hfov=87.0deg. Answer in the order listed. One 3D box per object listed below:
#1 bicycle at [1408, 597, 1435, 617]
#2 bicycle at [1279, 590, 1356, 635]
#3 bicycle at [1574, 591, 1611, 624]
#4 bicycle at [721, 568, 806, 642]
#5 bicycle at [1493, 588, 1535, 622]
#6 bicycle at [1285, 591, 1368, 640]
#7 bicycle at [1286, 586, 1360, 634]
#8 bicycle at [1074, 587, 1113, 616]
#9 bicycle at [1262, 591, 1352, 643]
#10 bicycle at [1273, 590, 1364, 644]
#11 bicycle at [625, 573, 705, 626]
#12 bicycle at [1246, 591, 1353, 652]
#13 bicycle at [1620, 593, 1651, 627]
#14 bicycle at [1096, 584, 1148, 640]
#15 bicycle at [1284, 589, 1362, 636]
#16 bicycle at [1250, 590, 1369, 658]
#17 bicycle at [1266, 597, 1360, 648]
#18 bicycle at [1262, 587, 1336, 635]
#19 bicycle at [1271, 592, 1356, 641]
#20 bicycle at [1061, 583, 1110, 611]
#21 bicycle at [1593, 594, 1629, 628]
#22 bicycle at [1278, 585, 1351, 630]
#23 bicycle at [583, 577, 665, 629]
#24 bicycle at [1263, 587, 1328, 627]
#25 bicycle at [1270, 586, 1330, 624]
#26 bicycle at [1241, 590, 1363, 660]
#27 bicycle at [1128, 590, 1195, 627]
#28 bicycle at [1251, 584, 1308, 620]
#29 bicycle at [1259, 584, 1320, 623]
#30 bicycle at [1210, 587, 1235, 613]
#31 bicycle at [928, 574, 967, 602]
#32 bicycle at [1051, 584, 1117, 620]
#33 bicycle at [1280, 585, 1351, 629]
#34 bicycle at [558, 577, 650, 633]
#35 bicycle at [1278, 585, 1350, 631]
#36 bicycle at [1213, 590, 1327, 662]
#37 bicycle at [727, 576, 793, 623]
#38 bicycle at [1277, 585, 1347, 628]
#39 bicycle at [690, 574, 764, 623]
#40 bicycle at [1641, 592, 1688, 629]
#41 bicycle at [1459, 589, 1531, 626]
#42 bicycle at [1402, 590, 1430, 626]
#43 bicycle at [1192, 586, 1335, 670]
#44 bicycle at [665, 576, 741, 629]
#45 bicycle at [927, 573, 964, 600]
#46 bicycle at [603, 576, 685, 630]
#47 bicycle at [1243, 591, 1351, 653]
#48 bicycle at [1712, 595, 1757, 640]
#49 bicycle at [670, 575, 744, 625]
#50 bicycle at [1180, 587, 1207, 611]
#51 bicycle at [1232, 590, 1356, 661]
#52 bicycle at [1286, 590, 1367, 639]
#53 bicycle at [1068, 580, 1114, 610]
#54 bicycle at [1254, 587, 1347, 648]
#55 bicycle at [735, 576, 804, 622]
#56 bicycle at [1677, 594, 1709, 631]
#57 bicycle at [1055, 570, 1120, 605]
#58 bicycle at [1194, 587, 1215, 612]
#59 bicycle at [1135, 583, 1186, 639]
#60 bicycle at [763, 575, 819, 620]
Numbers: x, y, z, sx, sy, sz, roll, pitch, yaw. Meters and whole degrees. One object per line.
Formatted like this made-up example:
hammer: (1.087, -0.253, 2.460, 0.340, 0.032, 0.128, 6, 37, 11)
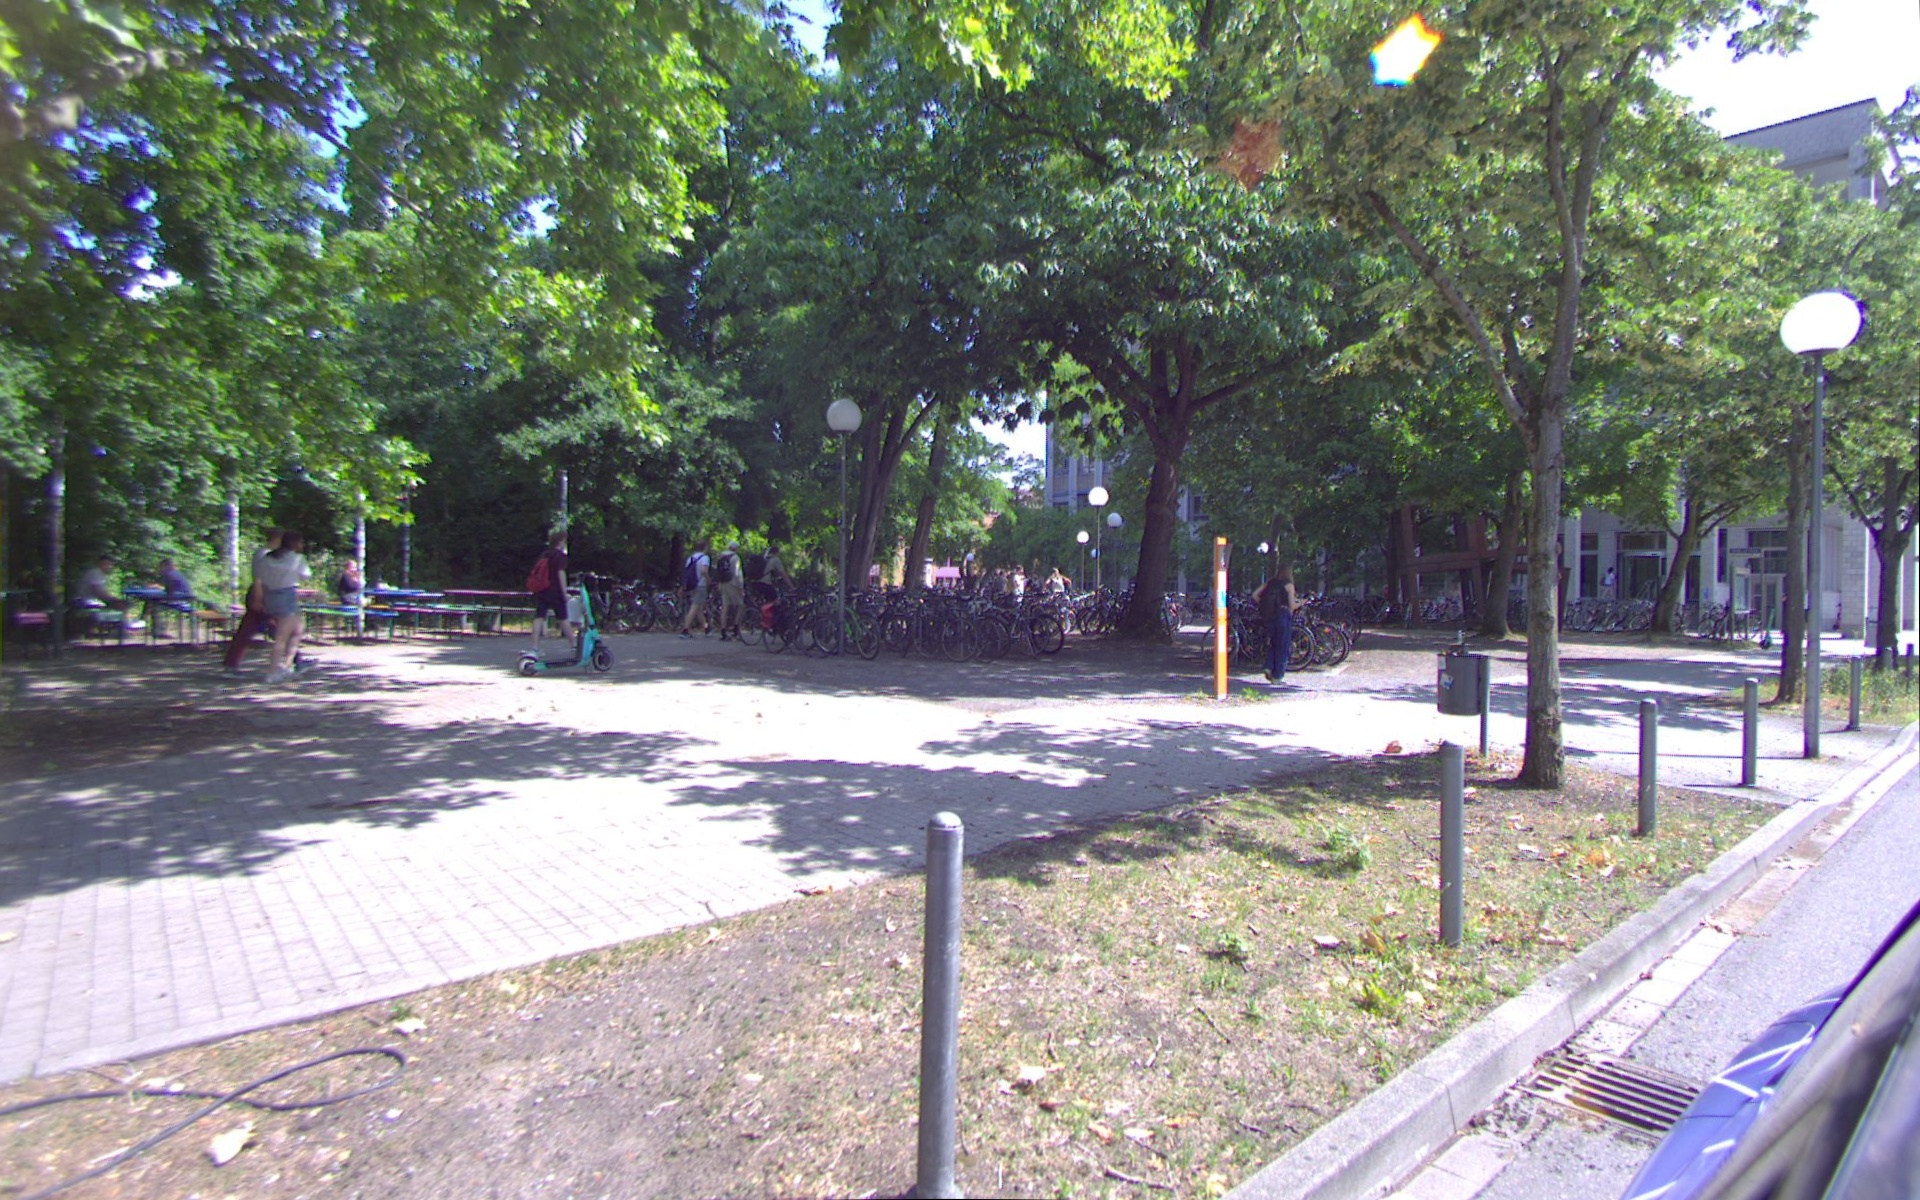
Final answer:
bicycle: (22.006, 0.320, 48.266, 1.743, 0.911, 0.337, 0, 0, -36)
bicycle: (9.066, 0.315, 25.724, 1.766, 1.083, 0.425, 2, 1, 14)
bicycle: (22.235, 0.275, 35.557, 1.664, 1.099, 0.482, 2, 1, -36)
bicycle: (-3.549, 0.077, 18.403, 0.526, 1.268, 1.720, 3, 2, 28)
bicycle: (19.264, 0.188, 35.186, 1.792, 1.091, 0.464, 2, 1, -33)
bicycle: (8.504, 0.349, 23.534, 1.770, 1.083, 0.424, 2, 1, 20)
bicycle: (9.493, 0.248, 26.497, 1.768, 1.185, 0.401, 2, 1, 16)
bicycle: (5.198, 0.058, 39.285, 1.442, 1.098, 0.353, 0, -2, -6)
bicycle: (7.372, 0.358, 21.588, 1.773, 1.041, 0.438, 2, 1, 18)
bicycle: (7.446, 0.337, 21.073, 1.712, 1.065, 0.492, 2, 1, 13)
bicycle: (-6.412, -0.027, 21.948, 1.944, 1.052, 0.473, 3, 2, 31)
bicycle: (6.459, 0.398, 19.284, 1.895, 1.073, 0.322, 2, 1, 27)
bicycle: (23.163, 0.343, 34.707, 1.447, 1.099, 0.460, 2, 1, -40)
bicycle: (3.399, 0.220, 21.135, 0.474, 1.096, 1.885, 2, 2, 28)
bicycle: (8.997, 0.293, 25.094, 1.772, 1.083, 0.423, 2, 1, 22)
bicycle: (6.154, 0.402, 17.898, 1.940, 1.096, 0.399, 2, 1, 38)
bicycle: (6.939, 0.432, 19.948, 1.717, 0.921, 0.491, 2, 1, 21)
bicycle: (8.782, 0.266, 26.279, 1.768, 1.185, 0.401, 2, 1, 16)
bicycle: (7.915, 0.354, 22.736, 1.769, 1.041, 0.379, 2, 1, 18)
bicycle: (4.764, -0.103, 38.431, 1.769, 0.991, 0.378, 2, 1, 3)
bicycle: (22.759, 0.383, 35.369, 1.486, 1.099, 0.482, 2, 1, -36)
bicycle: (9.627, 0.194, 27.520, 1.819, 1.185, 0.344, 2, 0, 16)
bicycle: (-6.952, 0.040, 20.929, 1.944, 0.991, 0.434, 3, 2, 31)
bicycle: (10.247, 0.211, 30.947, 1.817, 1.185, 0.352, 2, 0, 13)
bicycle: (11.148, 0.154, 33.202, 1.817, 1.185, 0.352, 2, 0, 13)
bicycle: (5.812, 0.409, 17.281, 1.940, 1.096, 0.399, 2, 1, 38)
bicycle: (5.891, 0.232, 29.643, 1.880, 0.991, 0.376, 2, 2, 20)
bicycle: (11.160, 0.057, 35.370, 1.816, 1.185, 0.412, 2, 0, 11)
bicycle: (10.555, 0.111, 32.436, 1.817, 1.185, 0.352, 2, 0, 13)
bicycle: (11.428, -0.011, 44.018, 1.448, 1.097, 0.352, 0, 1, -45)
bicycle: (-0.527, -0.504, 42.252, 1.581, 1.107, 0.348, 2, 1, 1)
bicycle: (3.680, 0.042, 30.071, 1.880, 0.991, 0.376, 2, 2, 20)
bicycle: (9.950, 0.200, 28.330, 1.811, 1.185, 0.345, 1, 0, 2)
bicycle: (-7.029, 0.081, 19.963, 1.944, 0.991, 0.606, 3, 2, 31)
bicycle: (9.733, 0.209, 27.856, 1.819, 1.185, 0.344, 2, 0, 16)
bicycle: (5.127, 0.409, 16.806, 1.764, 1.096, 0.432, 2, 1, 38)
bicycle: (-4.813, -0.033, 24.331, 1.737, 1.052, 0.344, 3, 2, 29)
bicycle: (9.973, 0.184, 28.704, 1.811, 1.185, 0.345, 1, 0, 2)
bicycle: (-5.473, -0.046, 23.732, 1.816, 1.052, 0.474, 3, 2, 29)
bicycle: (23.564, 0.364, 33.844, 1.494, 1.155, 0.493, 3, 1, -22)
bicycle: (17.051, 0.236, 32.269, 1.895, 1.123, 0.630, 1, 2, 13)
bicycle: (15.062, 0.244, 33.435, 0.468, 1.123, 1.665, 1, 2, 12)
bicycle: (4.665, 0.402, 15.653, 2.010, 1.181, 0.643, 2, 1, 38)
bicycle: (-5.564, 0.036, 21.892, 1.768, 1.052, 0.430, 3, 2, 29)
bicycle: (-0.645, -0.591, 43.951, 1.581, 1.107, 0.348, 2, 1, 1)
bicycle: (-6.646, 0.044, 21.251, 1.944, 1.052, 0.430, 3, 2, 31)
bicycle: (6.316, 0.402, 19.011, 1.895, 1.073, 0.322, 2, 1, 27)
bicycle: (20.980, 0.468, 27.451, 0.622, 1.097, 1.674, -1, 2, 26)
bicycle: (-5.733, -0.021, 22.894, 1.768, 1.052, 0.474, 3, 2, 29)
bicycle: (11.134, -0.029, 48.269, 0.477, 1.098, 1.661, -2, -2, 44)
bicycle: (5.566, 0.401, 16.934, 1.940, 1.096, 0.399, 2, 1, 38)
bicycle: (8.650, 0.338, 23.947, 1.770, 1.083, 0.424, 2, 1, 20)
bicycle: (4.651, -0.178, 35.813, 1.571, 0.991, 0.403, 2, 1, 10)
bicycle: (6.883, 0.336, 20.498, 1.712, 1.169, 0.492, 2, 1, 13)
bicycle: (-4.651, -0.038, 24.649, 1.737, 1.052, 0.474, 3, 2, 29)
bicycle: (24.263, 0.411, 33.477, 1.465, 1.155, 0.560, 2, 1, -44)
bicycle: (3.833, -0.381, 30.466, 1.880, 0.991, 0.376, 2, 2, 20)
bicycle: (10.845, -0.025, 44.910, 0.350, 1.097, 1.452, 1, 1, 36)
bicycle: (4.155, 0.201, 20.863, 0.474, 1.096, 1.885, 2, 2, 28)
bicycle: (-4.414, -0.072, 26.386, 1.598, 1.107, 0.344, 3, 2, 31)
